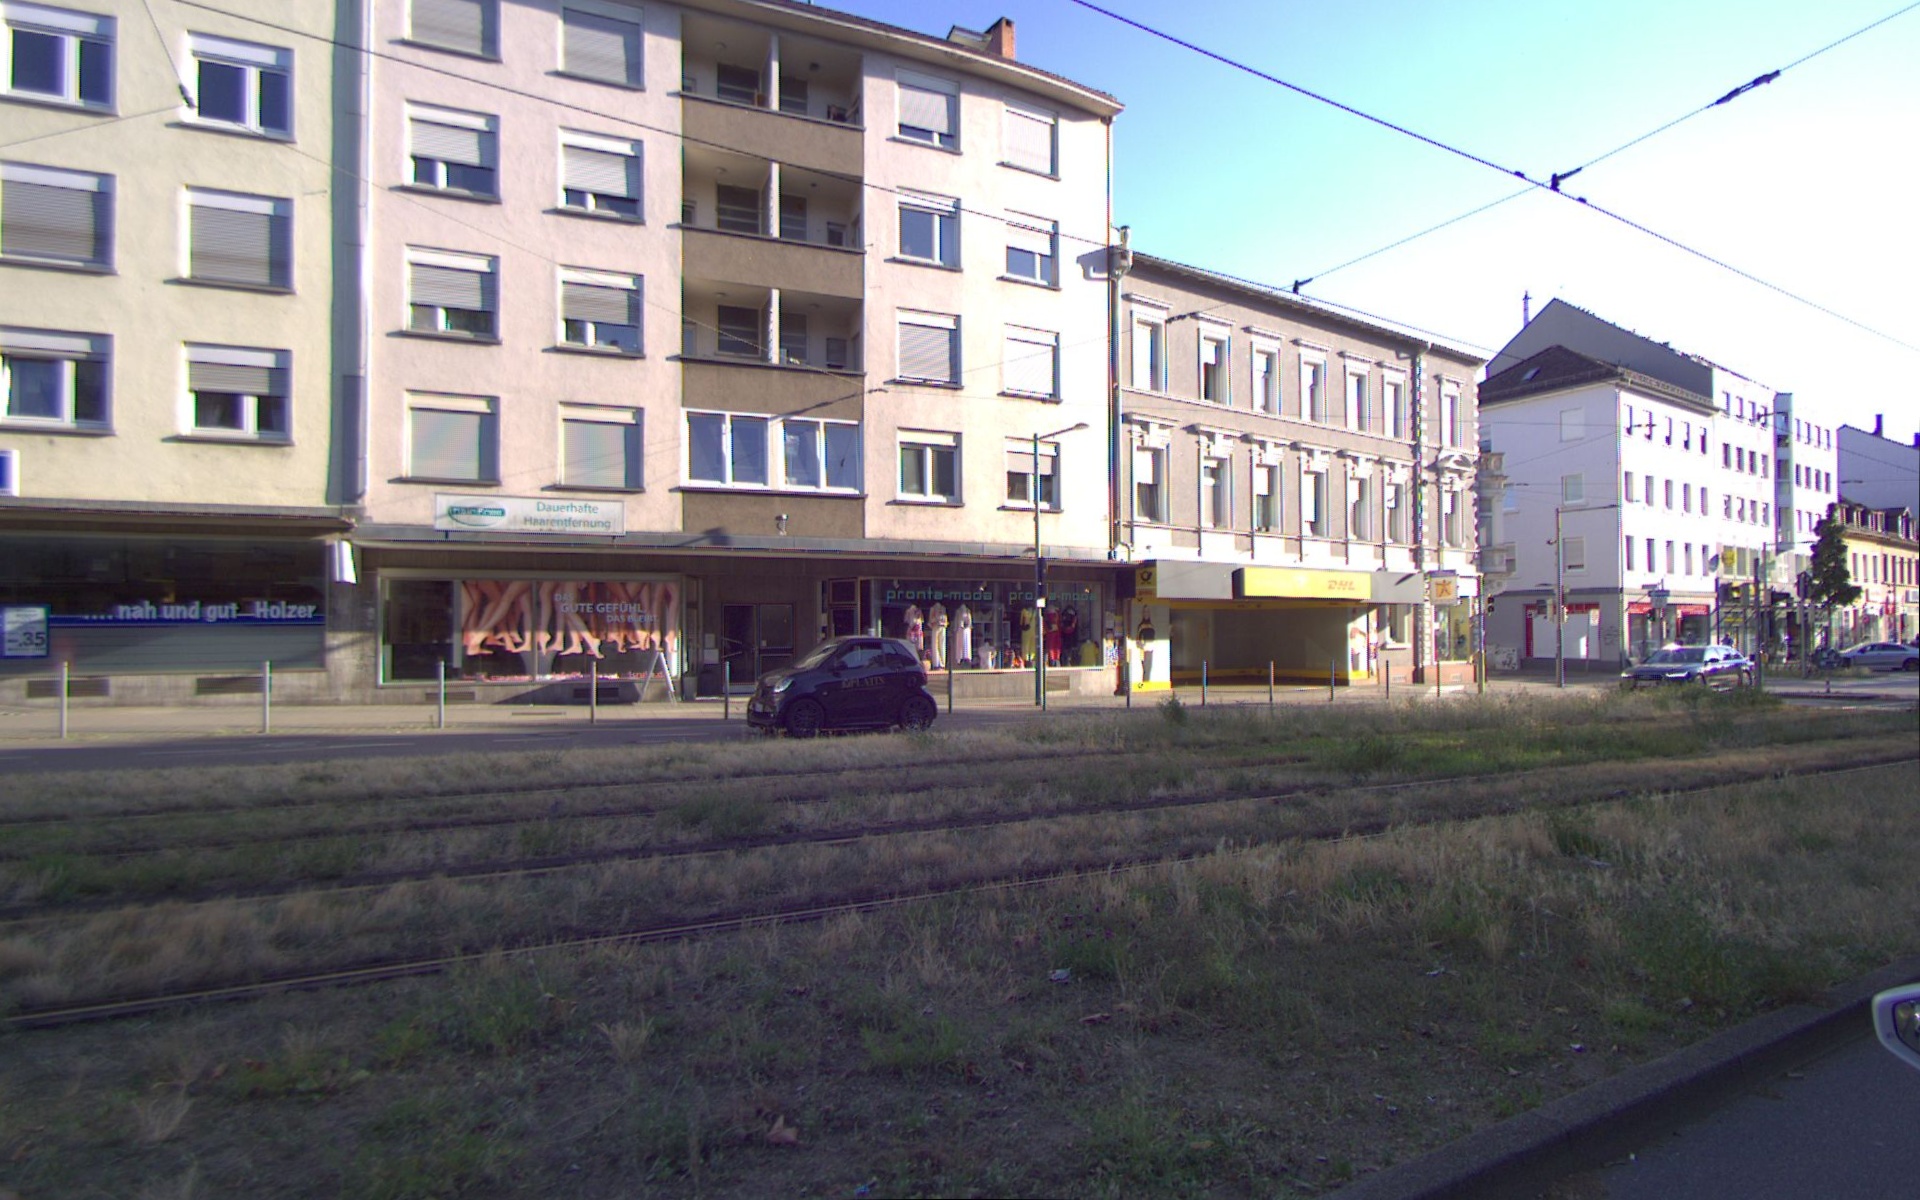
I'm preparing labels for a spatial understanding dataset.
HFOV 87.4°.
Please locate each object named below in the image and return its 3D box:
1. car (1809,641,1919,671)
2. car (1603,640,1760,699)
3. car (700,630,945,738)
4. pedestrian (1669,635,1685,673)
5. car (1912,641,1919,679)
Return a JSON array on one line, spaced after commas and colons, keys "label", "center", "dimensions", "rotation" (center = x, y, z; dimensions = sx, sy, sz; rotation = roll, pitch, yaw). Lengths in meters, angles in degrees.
[{"label": "car", "center": [46.731, 2.870, 51.482], "dimensions": [4.465, 1.431, 1.999], "rotation": [0, -2, 24]}, {"label": "car", "center": [20.884, 1.961, 29.048], "dimensions": [4.719, 1.579, 1.984], "rotation": [2, -2, -31]}, {"label": "car", "center": [-2.144, 1.283, 15.760], "dimensions": [3.434, 1.528, 1.715], "rotation": [2, -4, -29]}, {"label": "pedestrian", "center": [32.469, 2.441, 45.480], "dimensions": [0.501, 1.736, 0.424], "rotation": [1, -2, -26]}, {"label": "car", "center": [39.775, 2.323, 39.828], "dimensions": [3.994, 1.469, 1.774], "rotation": [0, -3, -29]}]
